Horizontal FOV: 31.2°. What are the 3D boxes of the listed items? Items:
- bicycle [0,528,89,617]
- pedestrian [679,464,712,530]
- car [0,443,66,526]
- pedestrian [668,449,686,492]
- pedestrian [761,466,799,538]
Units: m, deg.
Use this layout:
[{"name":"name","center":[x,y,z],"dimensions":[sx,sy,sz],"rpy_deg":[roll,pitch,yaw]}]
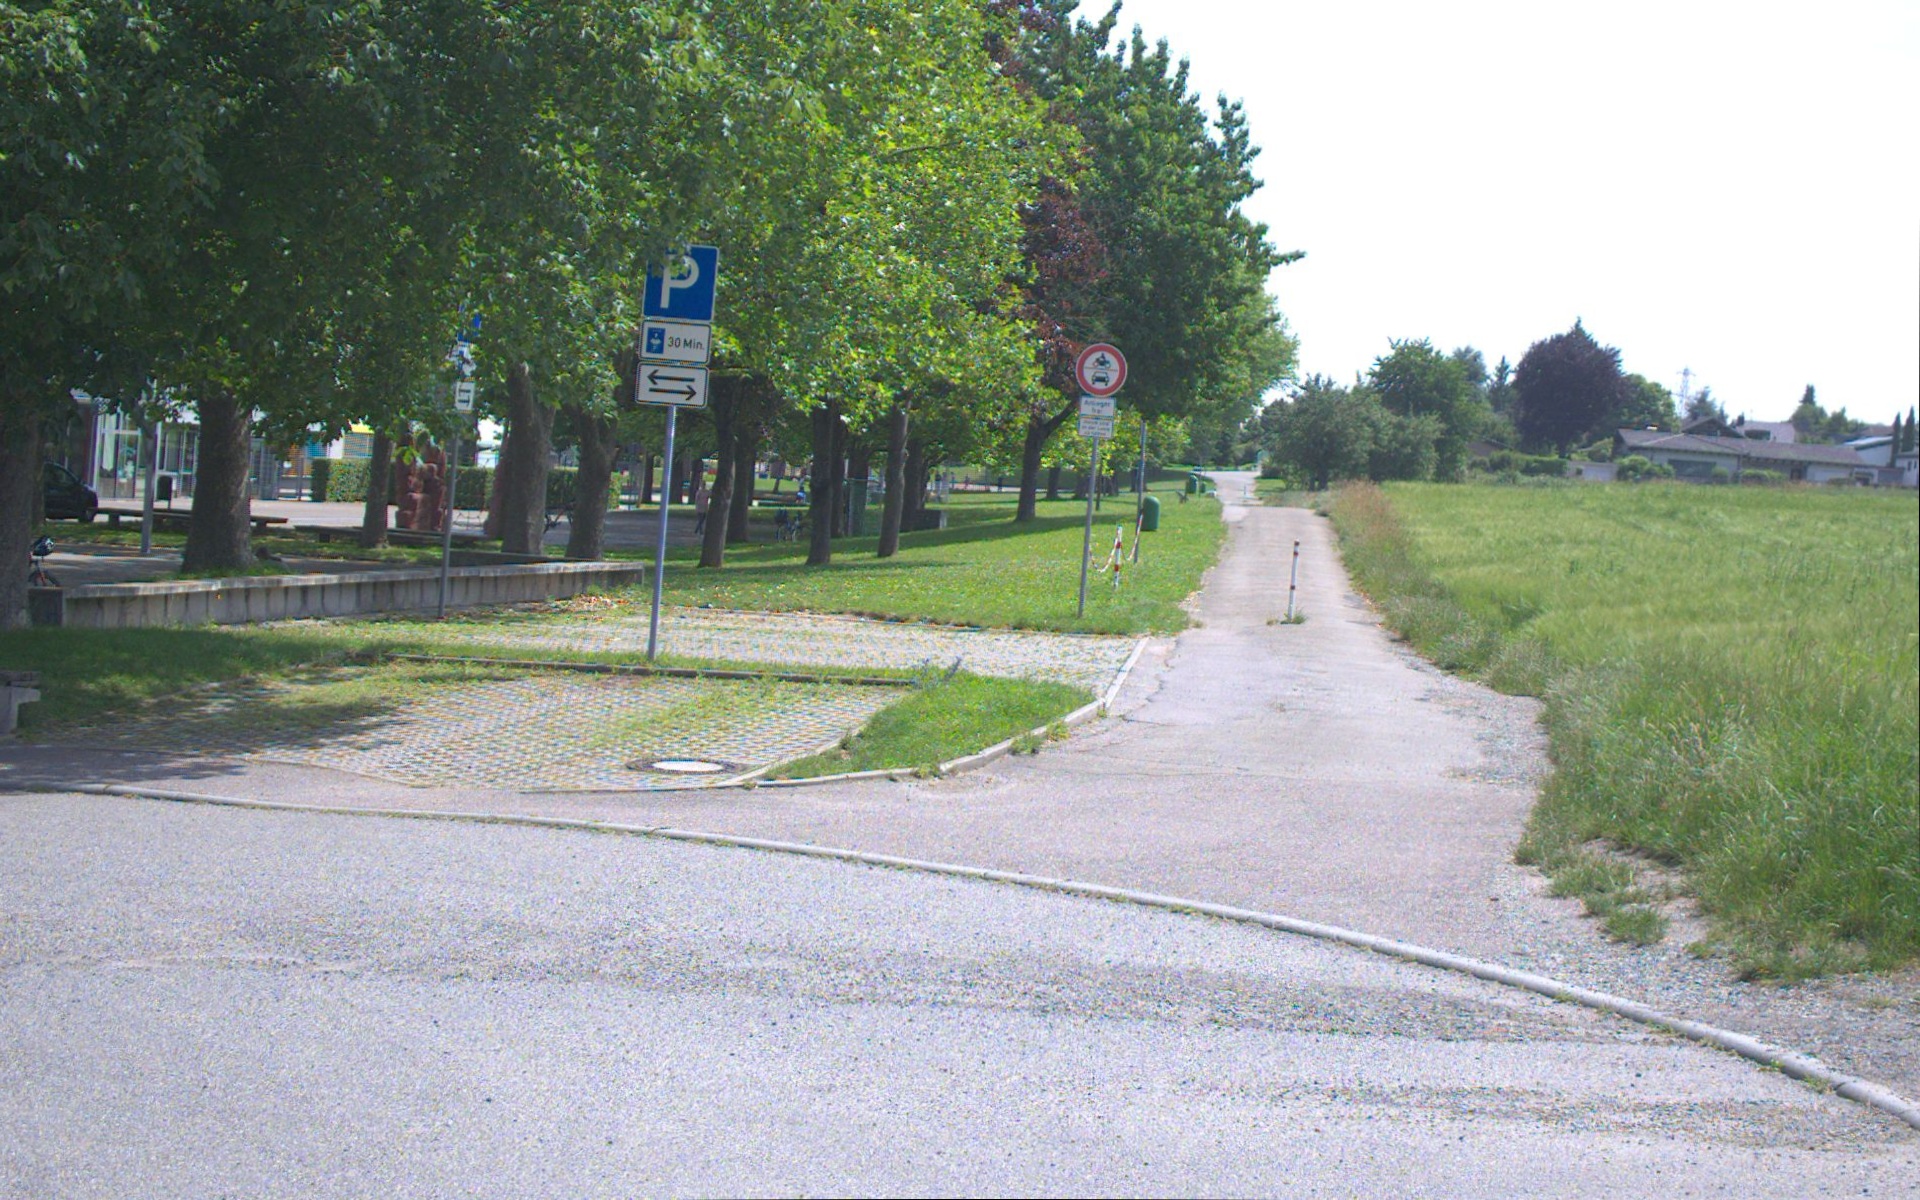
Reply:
[{"name":"bicycle","center":[-11.630,-0.351,41.494],"dimensions":[2.062,1.035,0.572],"rpy_deg":[2,2,-4]},{"name":"pedestrian","center":[-8.197,-3.204,106.608],"dimensions":[0.832,2.007,0.692],"rpy_deg":[3,1,-12]},{"name":"car","center":[-21.891,-2.666,78.902],"dimensions":[1.691,1.828,3.411],"rpy_deg":[3,1,2]},{"name":"pedestrian","center":[-13.357,-6.125,162.461],"dimensions":[0.723,2.007,0.682],"rpy_deg":[0,1,7]},{"name":"pedestrian","center":[-5.136,-2.803,98.094],"dimensions":[0.682,2.007,0.803],"rpy_deg":[3,1,-29]}]
